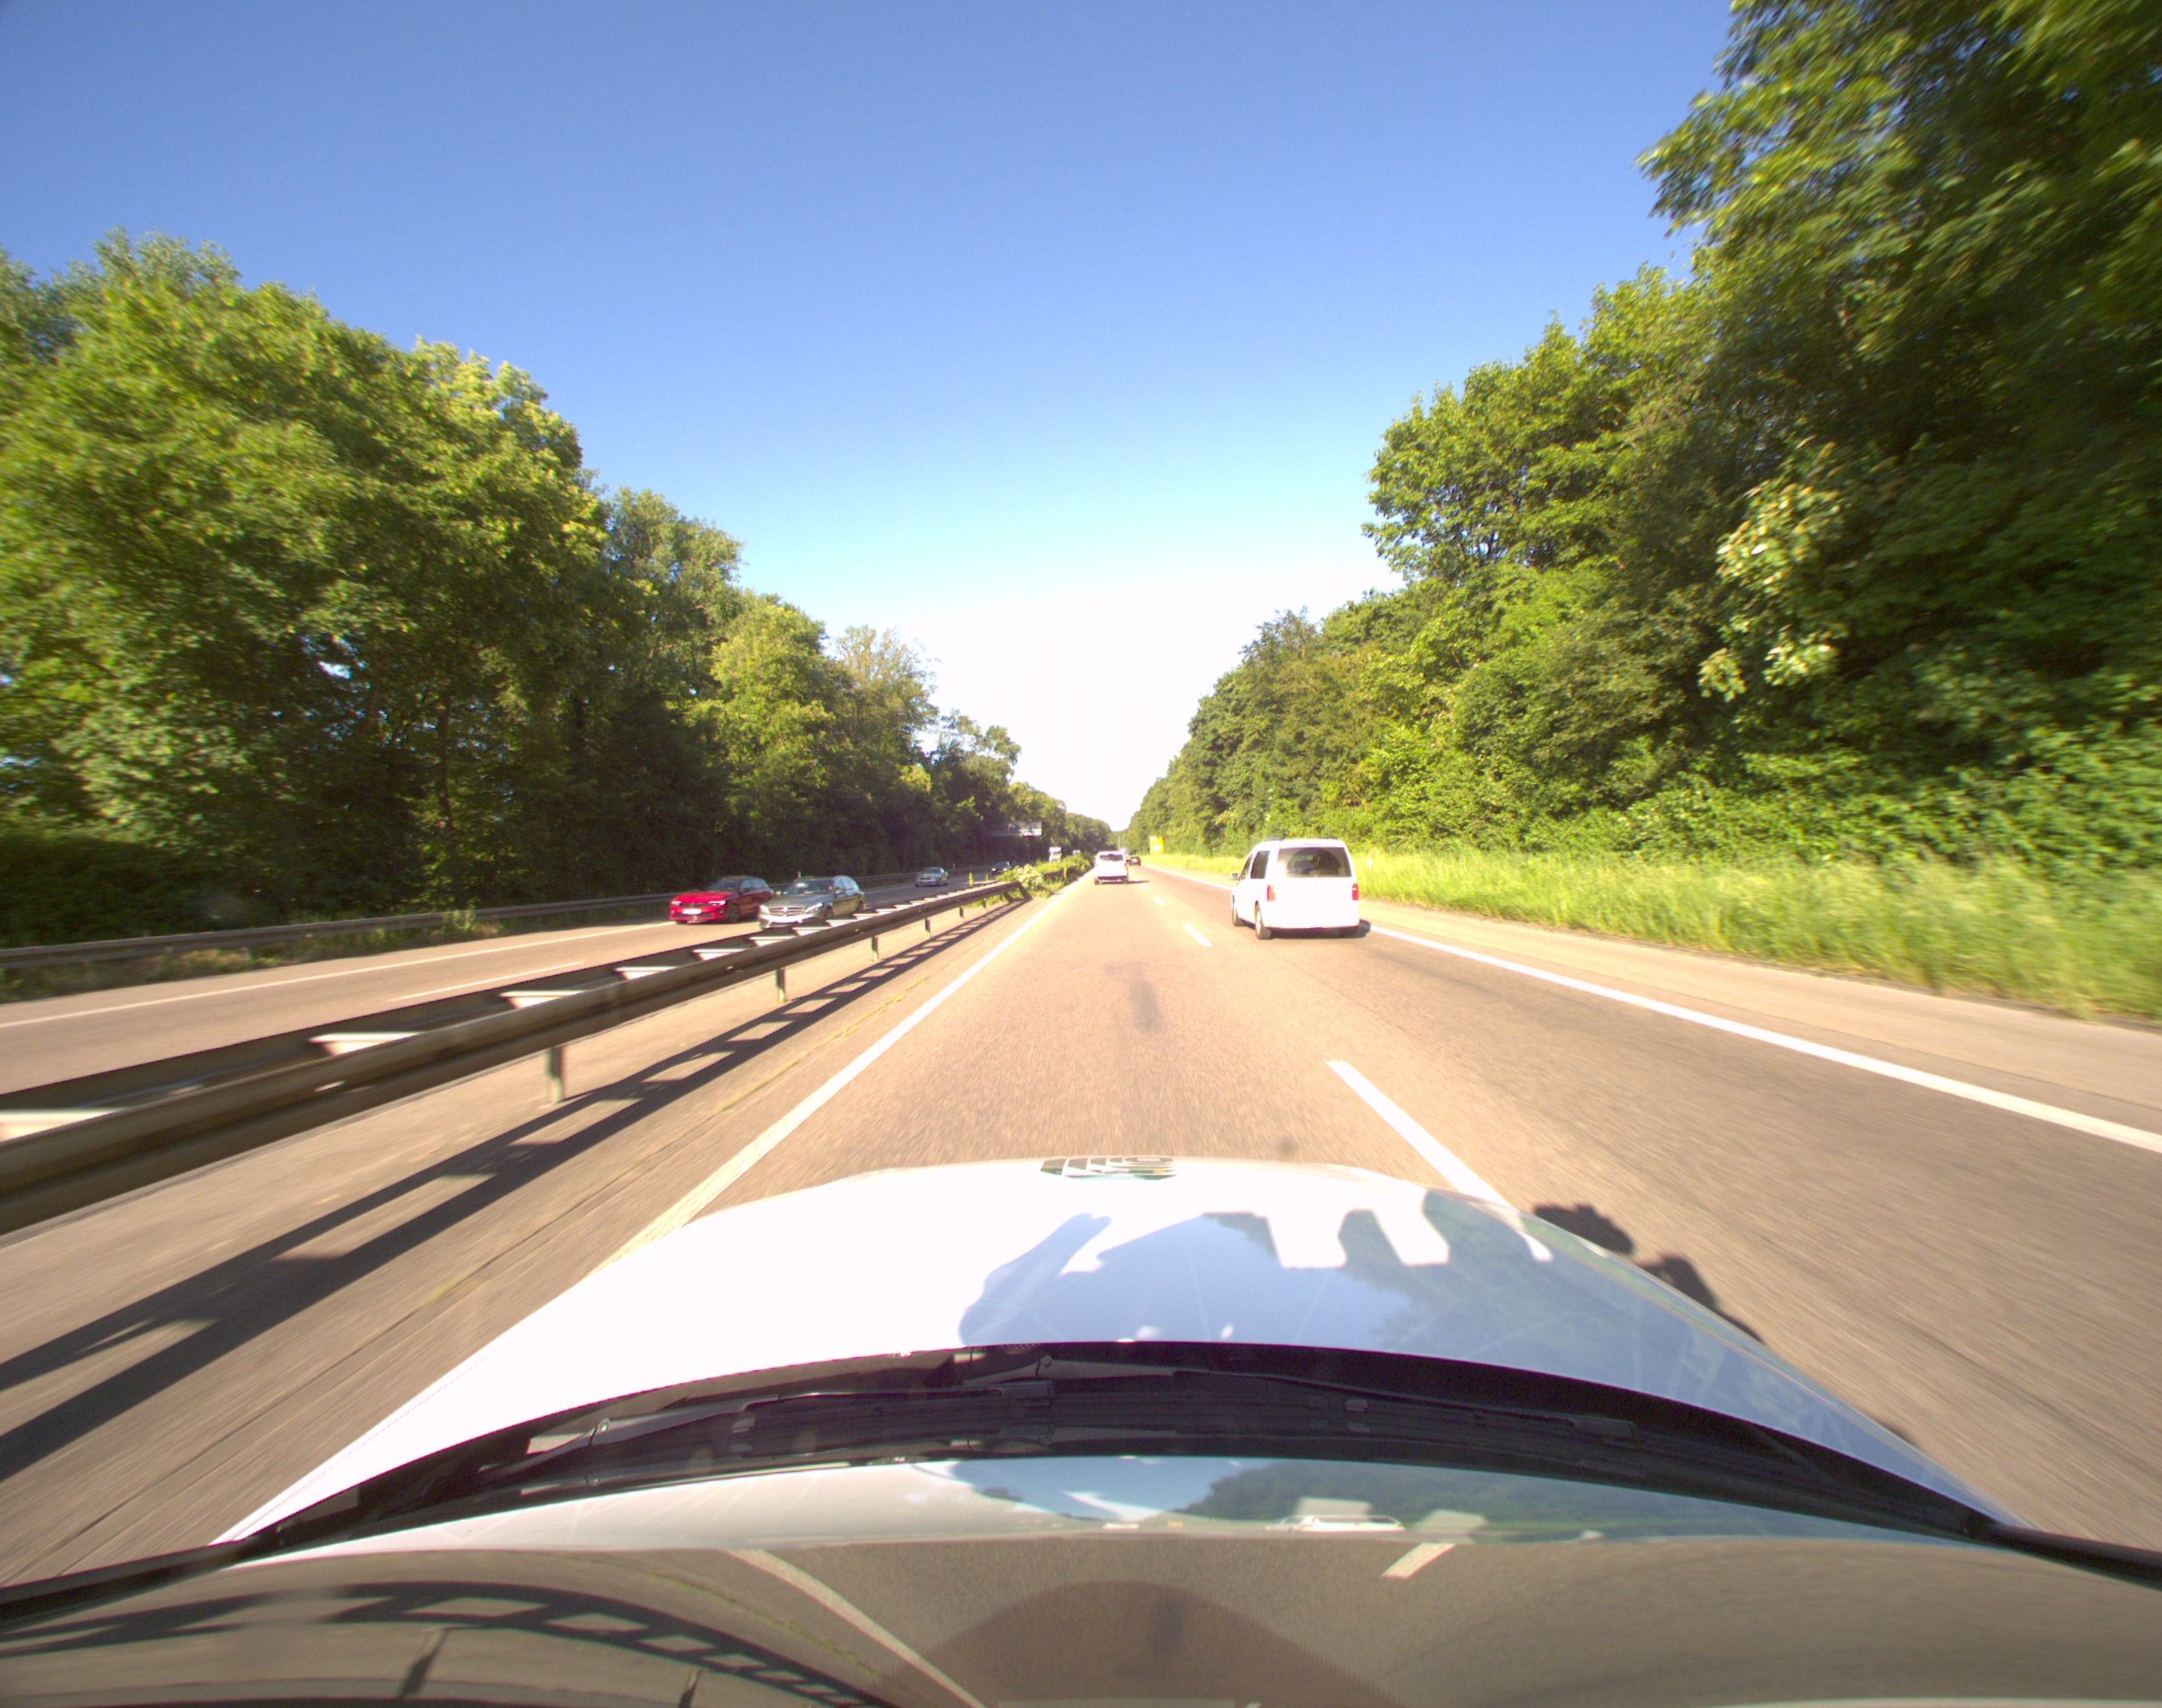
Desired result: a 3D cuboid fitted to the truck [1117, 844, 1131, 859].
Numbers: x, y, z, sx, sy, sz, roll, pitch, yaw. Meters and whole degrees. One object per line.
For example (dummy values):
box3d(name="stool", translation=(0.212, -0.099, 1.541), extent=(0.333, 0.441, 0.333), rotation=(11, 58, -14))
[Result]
box3d(name="truck", translation=(12.388, -0.783, 235.166), extent=(3.483, 4.172, 8.865), rotation=(-2, 0, 2))

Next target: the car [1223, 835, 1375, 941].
box3d(name="car", translation=(4.068, 0.571, 15.964), extent=(1.857, 1.770, 4.471), rotation=(-1, 0, 1))

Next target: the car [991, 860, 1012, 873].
box3d(name="car", translation=(-8.630, 1.312, 88.861), extent=(1.711, 1.357, 3.949), rotation=(-1, -1, 3))

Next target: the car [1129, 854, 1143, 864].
box3d(name="car", translation=(8.278, 0.740, 122.640), extent=(1.986, 1.398, 4.002), rotation=(0, 0, 2))

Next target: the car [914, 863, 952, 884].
box3d(name="car", translation=(-10.264, 1.332, 56.729), extent=(1.712, 1.357, 4.229), rotation=(-2, 0, 1))

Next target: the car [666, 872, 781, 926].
box3d(name="car", translation=(-11.381, 1.379, 26.293), extent=(1.712, 1.445, 4.229), rotation=(-2, 0, 1))

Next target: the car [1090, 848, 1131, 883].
box3d(name="car", translation=(1.602, 0.598, 45.042), extent=(2.079, 1.828, 3.999), rotation=(-1, 0, 0))

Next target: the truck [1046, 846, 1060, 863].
box3d(name="truck", translation=(-6.270, 0.174, 185.129), extent=(2.752, 3.712, 7.855), rotation=(-2, 0, 0))

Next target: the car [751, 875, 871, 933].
box3d(name="car", translation=(-7.566, 1.343, 23.329), extent=(1.828, 1.357, 4.476), rotation=(-1, 0, 1))
